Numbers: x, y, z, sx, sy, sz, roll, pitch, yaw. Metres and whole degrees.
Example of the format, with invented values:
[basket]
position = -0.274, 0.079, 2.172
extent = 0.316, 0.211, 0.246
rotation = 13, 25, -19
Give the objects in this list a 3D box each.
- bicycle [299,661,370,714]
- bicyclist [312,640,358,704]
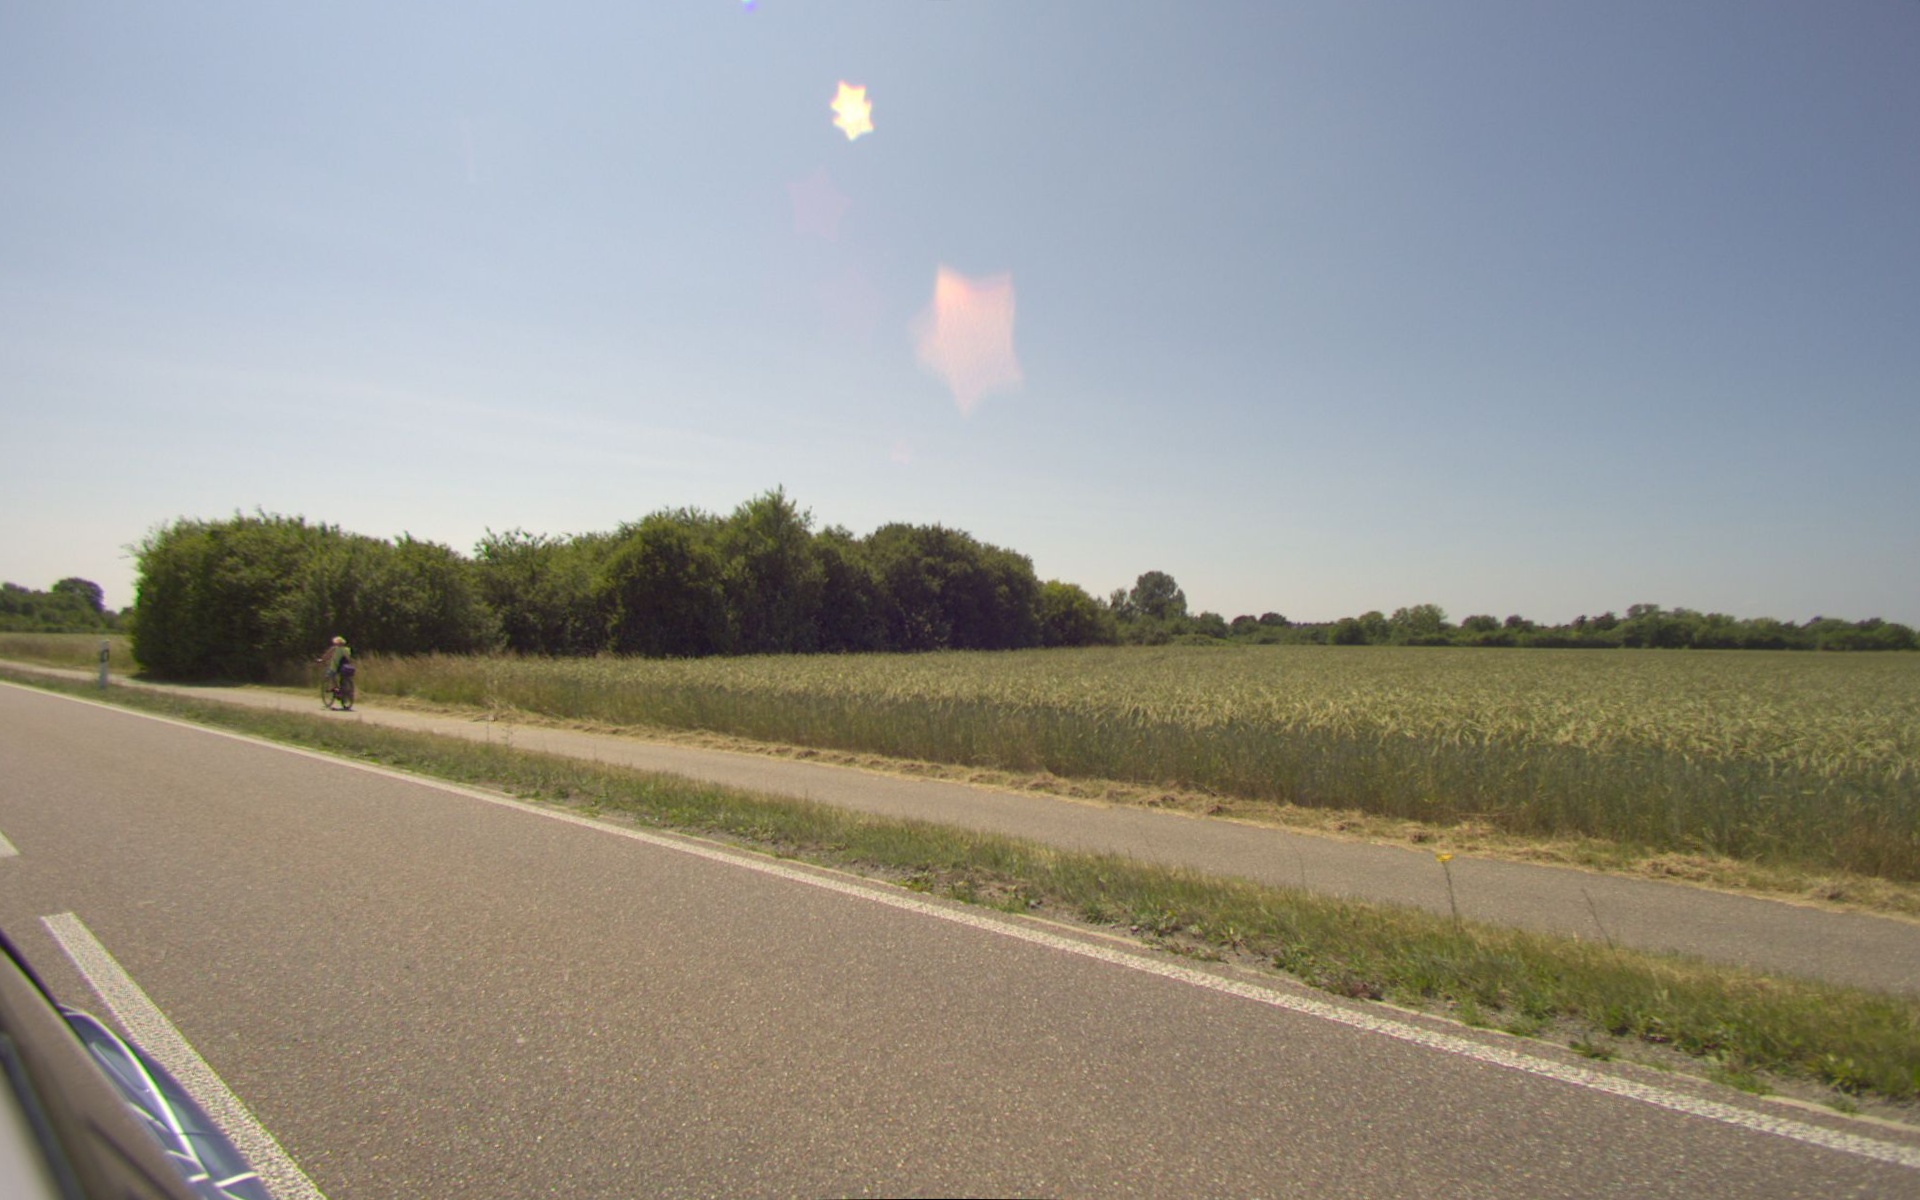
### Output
[bicycle]
position = -14.830, 2.047, 23.974
extent = 1.959, 1.185, 0.688
rotation = -2, -4, 35
[bicyclist]
position = -14.850, 1.694, 24.045
extent = 0.821, 1.449, 0.657
rotation = -1, -1, 37
